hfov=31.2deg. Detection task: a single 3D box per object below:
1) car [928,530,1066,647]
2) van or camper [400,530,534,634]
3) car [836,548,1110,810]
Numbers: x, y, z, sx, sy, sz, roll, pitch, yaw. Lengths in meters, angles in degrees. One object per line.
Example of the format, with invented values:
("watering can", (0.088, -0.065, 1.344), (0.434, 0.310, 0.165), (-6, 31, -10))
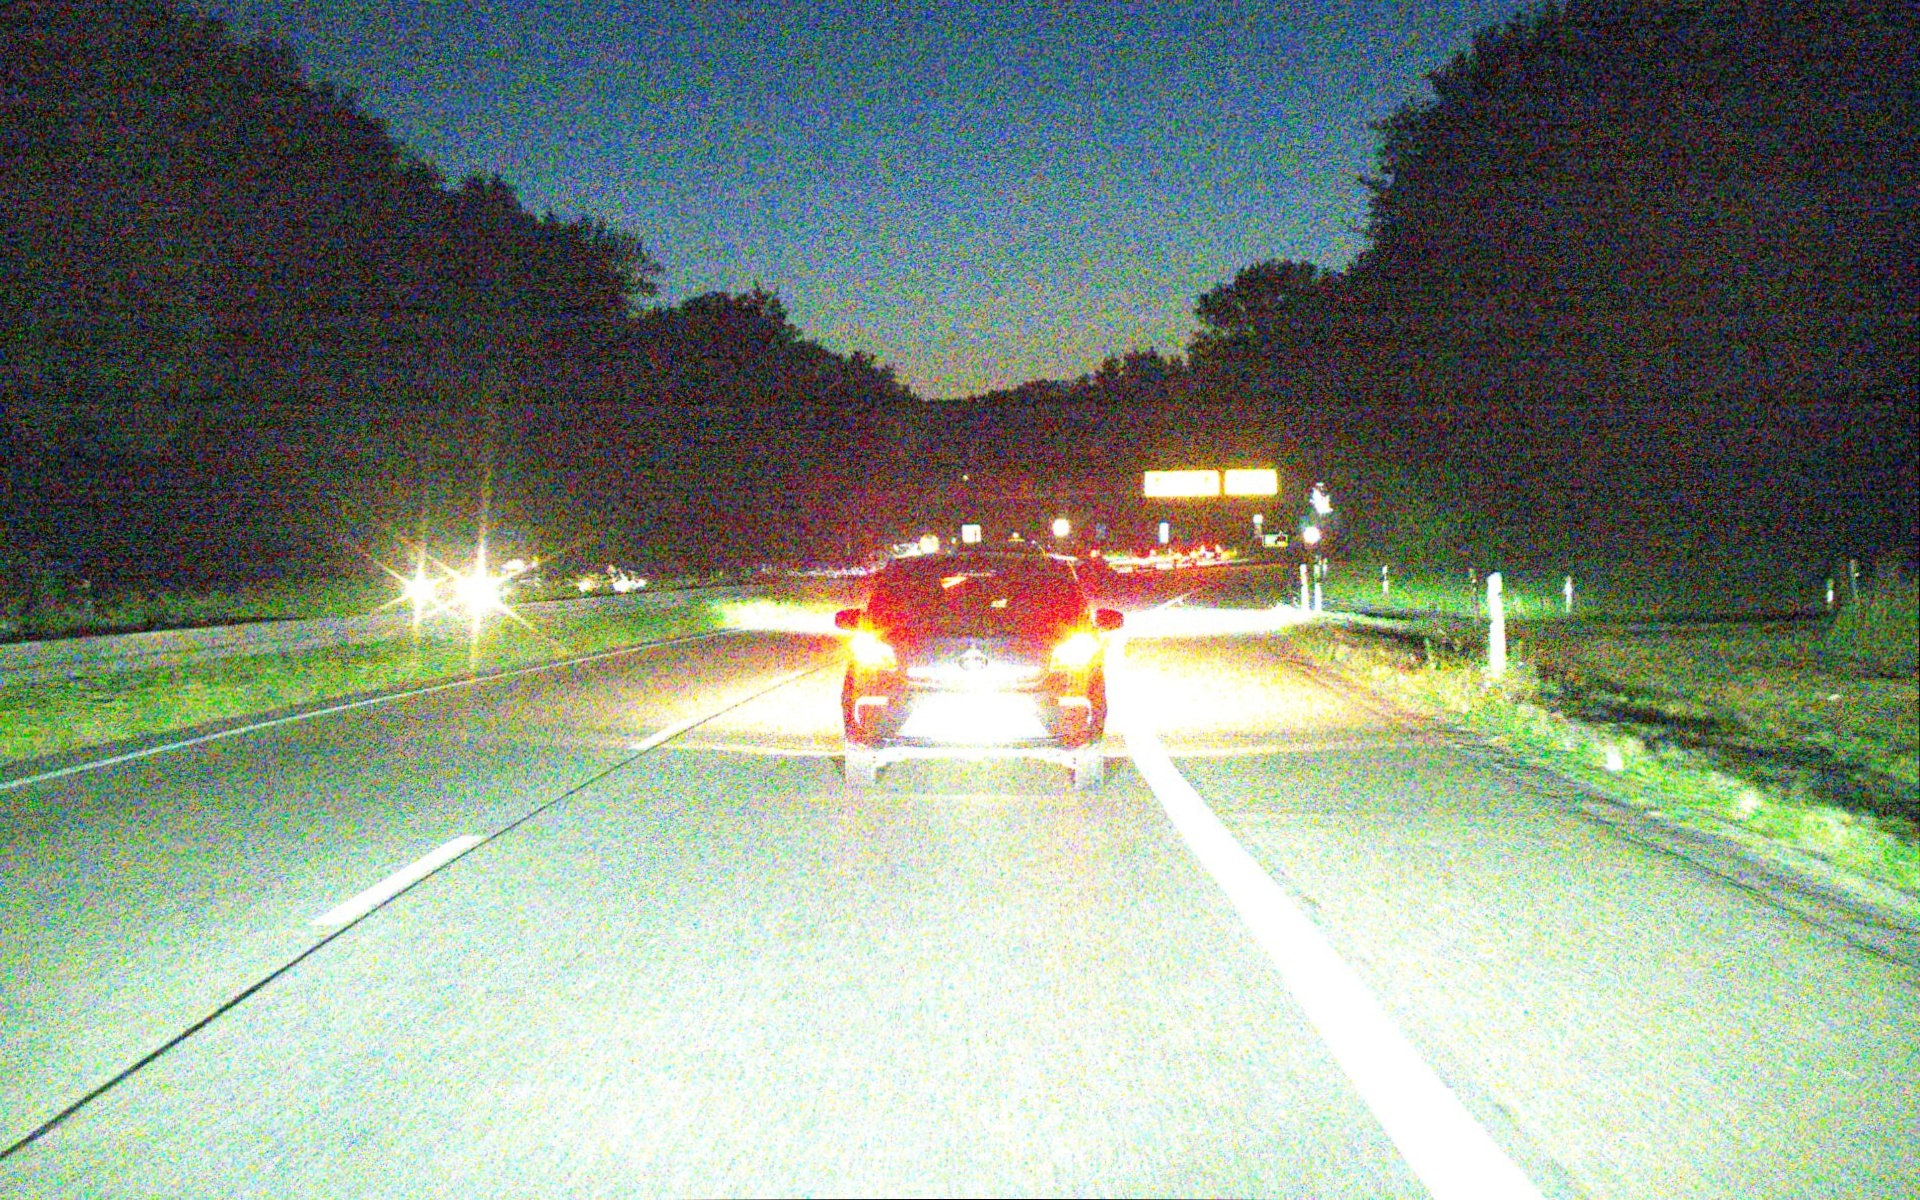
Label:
("car", (0.603, -0.213, 52.418), (1.907, 1.692, 4.000), (0, 1, 4))
("van or camper", (-13.111, -0.518, 91.989), (2.294, 2.608, 7.665), (-1, 1, 1))
("car", (0.019, 0.440, 22.321), (1.588, 1.503, 4.000), (1, 1, -2))
